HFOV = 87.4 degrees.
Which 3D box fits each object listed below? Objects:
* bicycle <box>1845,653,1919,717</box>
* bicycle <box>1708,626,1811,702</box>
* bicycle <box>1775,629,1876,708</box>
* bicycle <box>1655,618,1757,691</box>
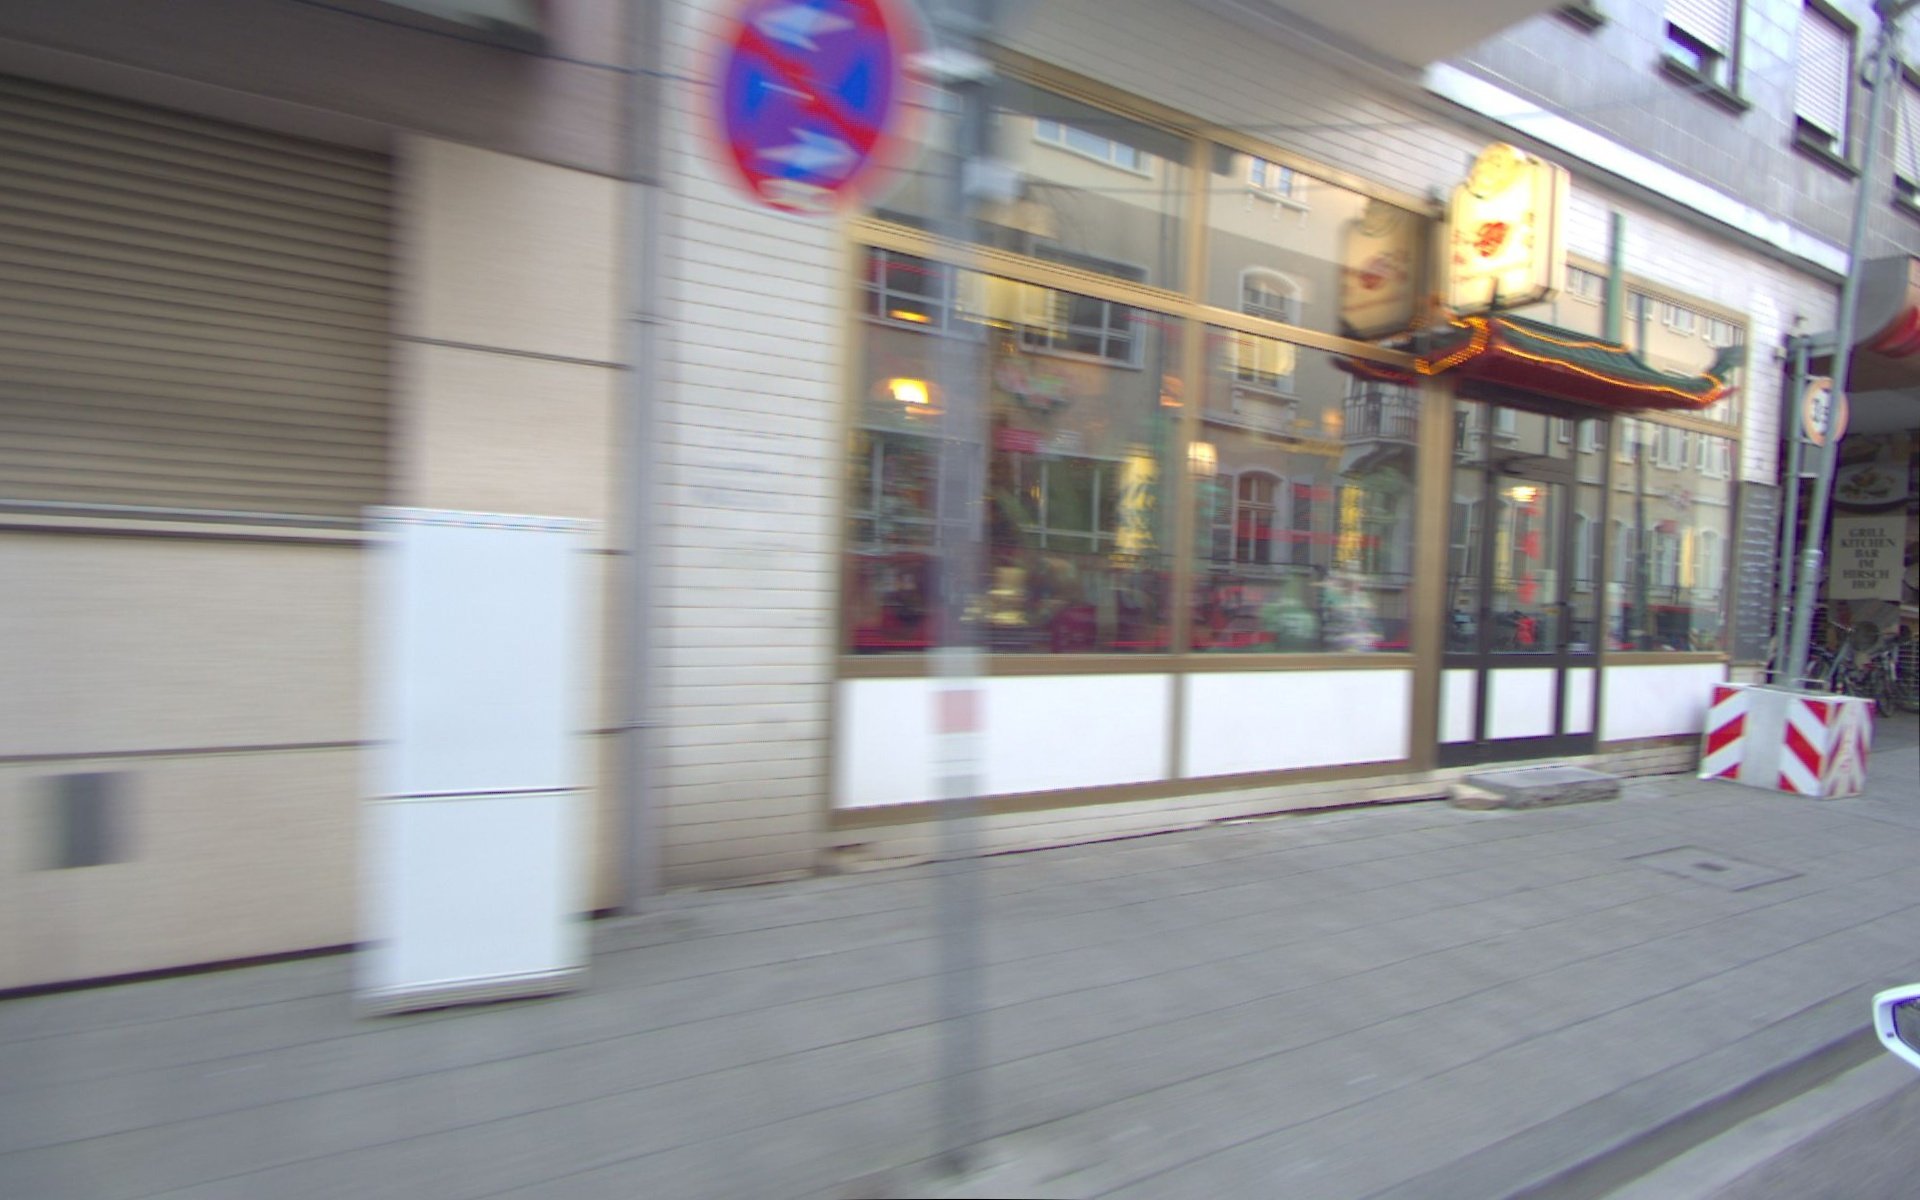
[{"bbox_3d":[12.599,1.120,13.502,1.727,0.771,0.519,1,1,-30],"label":"bicycle"},{"bbox_3d":[11.667,0.914,14.641,1.837,1.023,0.519,1,1,-30],"label":"bicycle"},{"bbox_3d":[12.201,0.946,14.152,1.727,1.023,0.519,1,1,-30],"label":"bicycle"},{"bbox_3d":[11.212,0.812,15.082,1.837,1.023,0.519,1,1,-30],"label":"bicycle"}]
